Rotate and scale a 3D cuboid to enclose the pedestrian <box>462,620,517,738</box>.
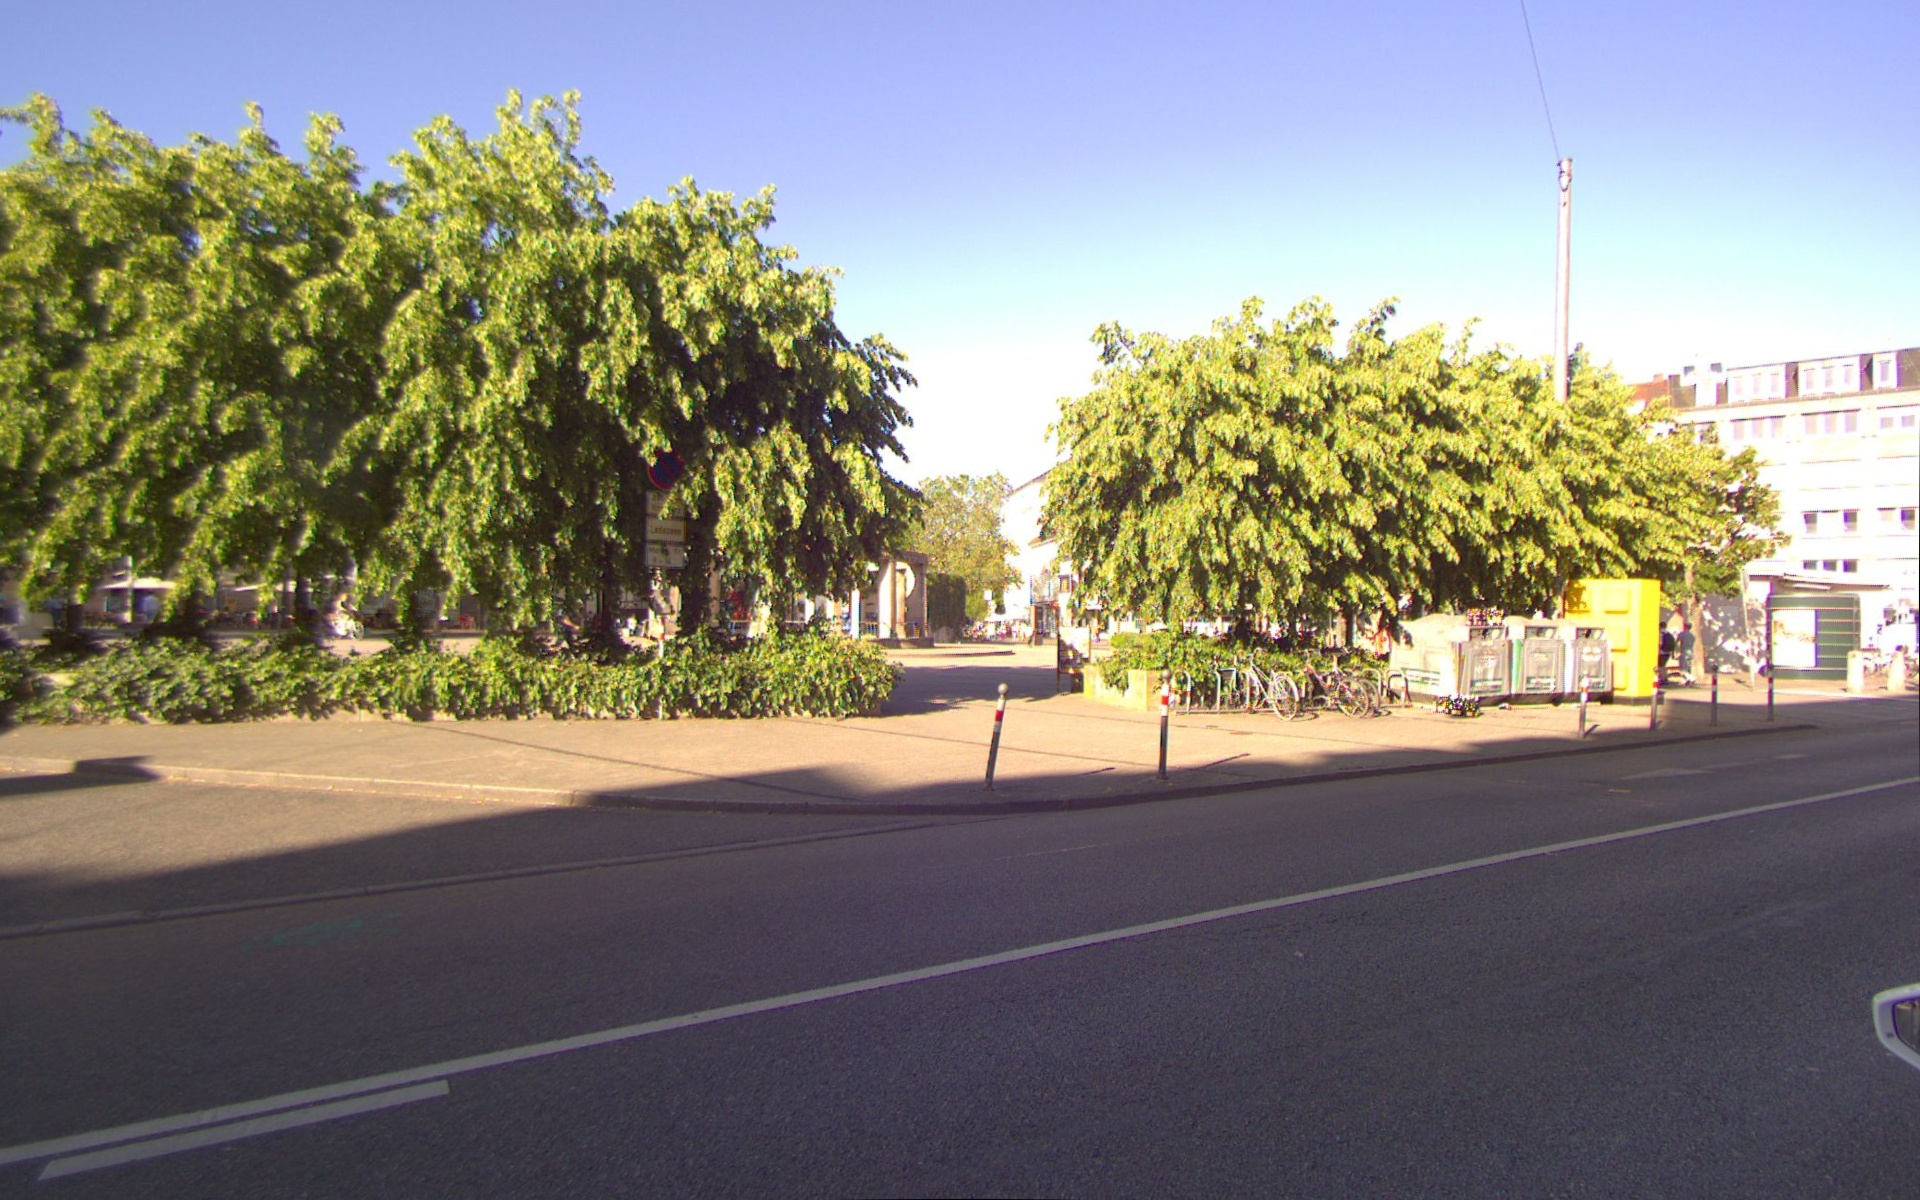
[{"bbox_3d":[-7.756,1.279,16.567,0.574,1.881,0.598,1,0,41],"label":"pedestrian"}]

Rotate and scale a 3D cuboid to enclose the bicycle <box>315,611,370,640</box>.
[{"bbox_3d":[-22.931,0.946,37.310,2.018,1.030,0.504,1,0,16],"label":"bicycle"}]

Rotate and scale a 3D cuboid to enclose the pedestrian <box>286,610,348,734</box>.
[{"bbox_3d":[-10.085,1.109,15.769,0.722,1.881,0.578,2,0,-28],"label":"pedestrian"}]

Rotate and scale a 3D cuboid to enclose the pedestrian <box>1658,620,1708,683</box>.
[{"bbox_3d":[20.533,1.451,28.532,0.734,1.748,0.898,1,0,-26],"label":"pedestrian"}]

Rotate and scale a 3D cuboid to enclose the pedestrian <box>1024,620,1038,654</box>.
[{"bbox_3d":[4.345,2.257,61.509,0.670,2.040,0.579,1,0,-23],"label":"pedestrian"}]

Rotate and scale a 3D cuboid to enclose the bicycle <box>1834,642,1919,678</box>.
[{"bbox_3d":[31.524,2.044,34.544,0.796,1.119,2.073,1,-1,-30],"label":"bicycle"}]

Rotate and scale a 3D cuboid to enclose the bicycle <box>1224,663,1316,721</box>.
[{"bbox_3d":[4.890,1.440,15.935,0.467,0.779,1.653,2,0,-20],"label":"bicycle"}]

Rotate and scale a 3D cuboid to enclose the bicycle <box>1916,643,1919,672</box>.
[{"bbox_3d":[37.793,2.220,38.095,0.796,1.119,2.073,1,-1,-30],"label":"bicycle"}]

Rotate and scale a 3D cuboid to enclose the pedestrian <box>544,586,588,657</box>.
[{"bbox_3d":[-10.093,0.557,25.770,0.918,1.775,0.728,1,0,-15],"label":"pedestrian"}]

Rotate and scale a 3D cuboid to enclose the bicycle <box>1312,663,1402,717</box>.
[{"bbox_3d":[6.619,1.487,16.812,0.468,0.779,1.468,2,0,-27],"label":"bicycle"}]

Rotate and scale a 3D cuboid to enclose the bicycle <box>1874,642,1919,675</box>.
[{"bbox_3d":[33.830,2.089,35.518,0.796,1.119,2.073,1,-1,-30],"label":"bicycle"}]

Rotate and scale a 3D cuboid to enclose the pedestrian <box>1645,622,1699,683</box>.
[{"bbox_3d":[19.859,1.454,28.021,0.727,1.658,0.983,1,0,-26],"label":"pedestrian"}]

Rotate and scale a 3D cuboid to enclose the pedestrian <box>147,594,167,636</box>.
[{"bbox_3d":[-35.098,0.659,43.902,0.597,1.816,0.575,2,0,-44],"label":"pedestrian"}]

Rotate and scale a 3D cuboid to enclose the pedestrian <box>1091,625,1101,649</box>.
[{"bbox_3d":[10.504,2.872,77.714,0.591,1.816,0.581,1,0,-12],"label":"pedestrian"}]

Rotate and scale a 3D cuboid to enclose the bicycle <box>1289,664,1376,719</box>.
[{"bbox_3d":[6.119,1.489,16.573,0.435,0.779,1.469,2,0,-25],"label":"bicycle"}]
